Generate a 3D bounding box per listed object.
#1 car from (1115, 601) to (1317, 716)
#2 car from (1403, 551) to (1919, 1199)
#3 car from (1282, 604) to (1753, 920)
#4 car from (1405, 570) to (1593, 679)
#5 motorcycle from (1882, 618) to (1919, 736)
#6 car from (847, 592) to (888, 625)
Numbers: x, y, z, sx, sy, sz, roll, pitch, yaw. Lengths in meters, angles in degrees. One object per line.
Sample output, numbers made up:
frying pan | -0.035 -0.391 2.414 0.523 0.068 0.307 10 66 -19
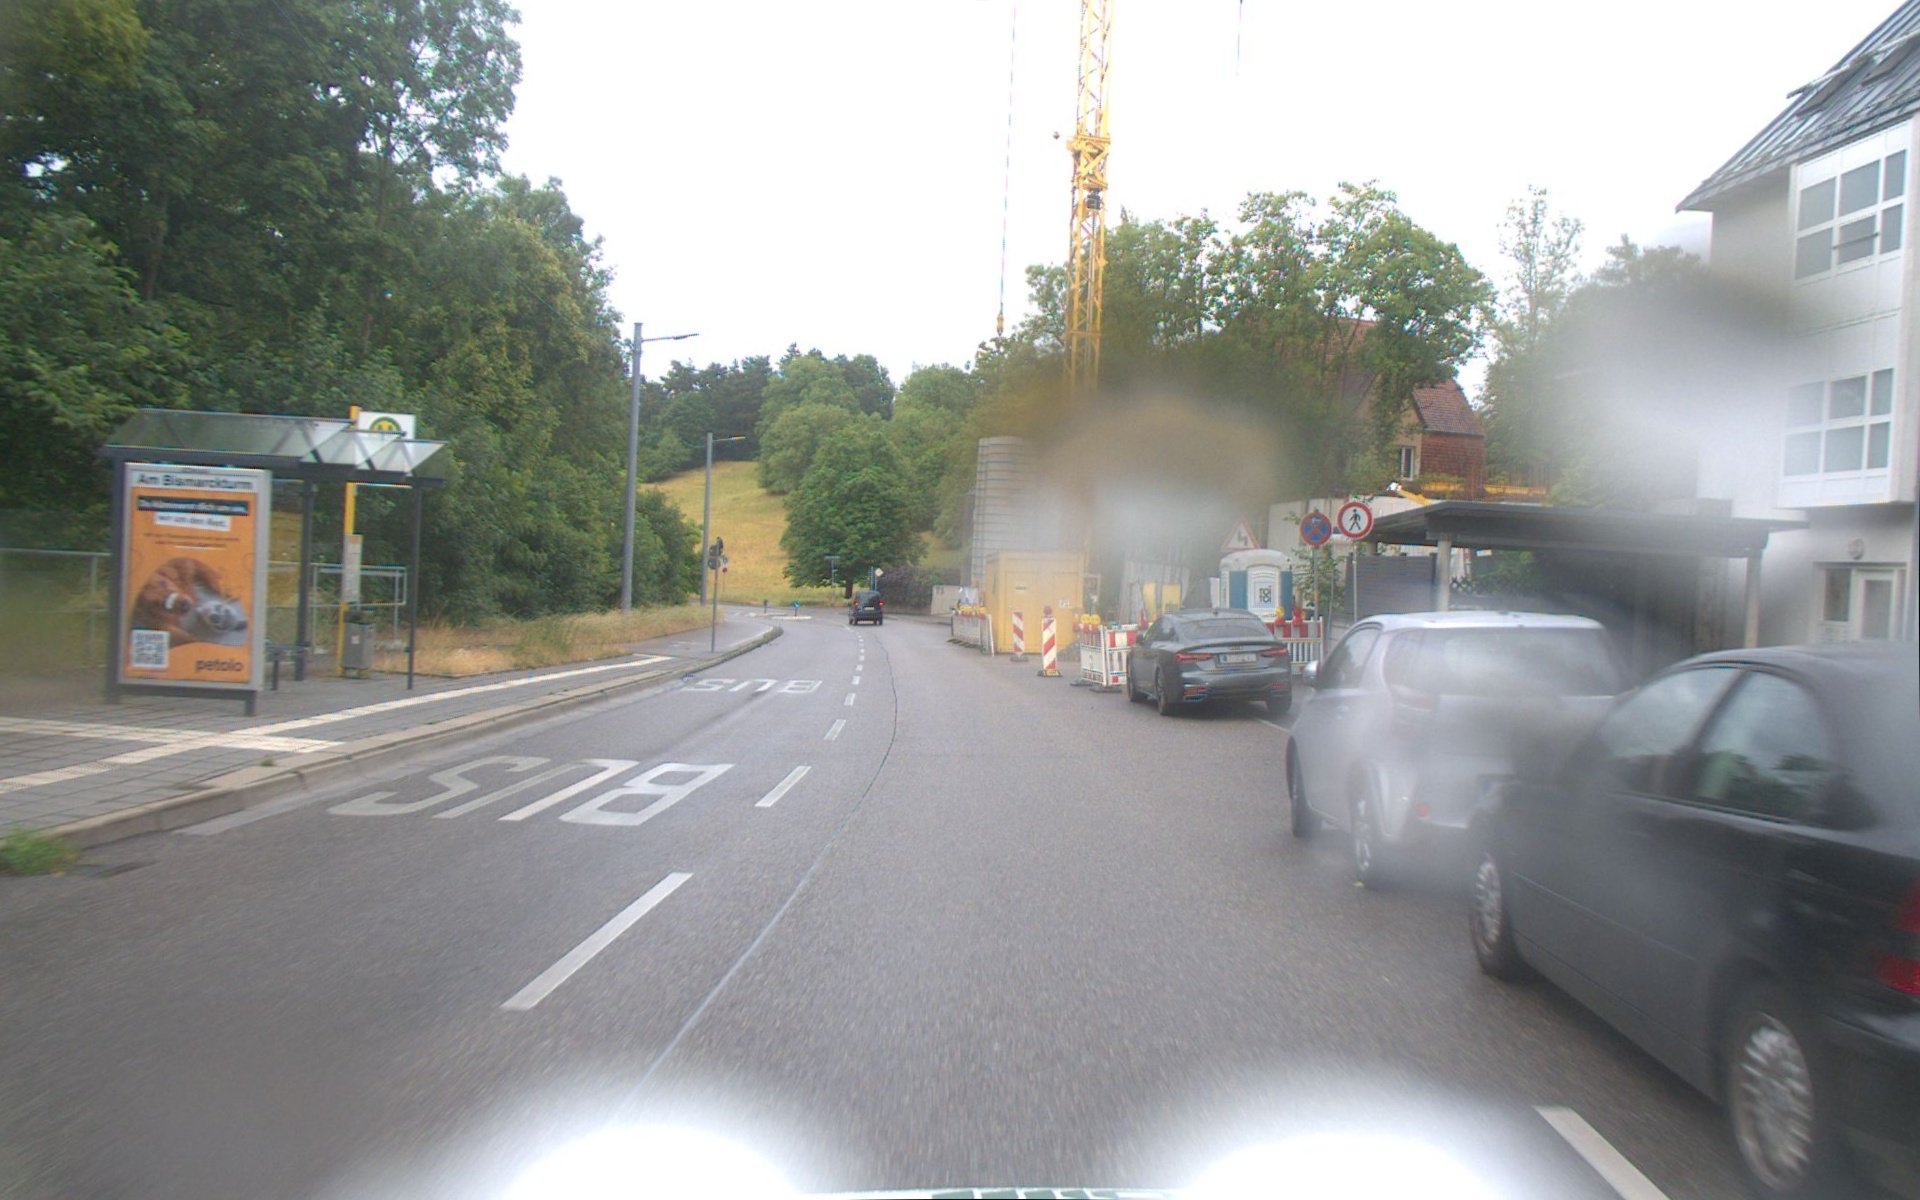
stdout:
car | 3.575 0.769 24.017 1.893 1.447 4.834 1 0 -4
car | 2.878 0.716 5.448 1.891 1.624 4.396 -1 0 3
car | 3.005 0.782 9.635 1.638 1.483 3.386 1 0 1
car | 8.570 0.364 26.645 1.660 1.497 4.000 5 0 0
motorcycle | 12.606 0.995 20.817 0.780 1.477 2.043 2 0 -2
car | -5.172 0.453 91.980 1.895 1.782 3.993 1 0 -8
